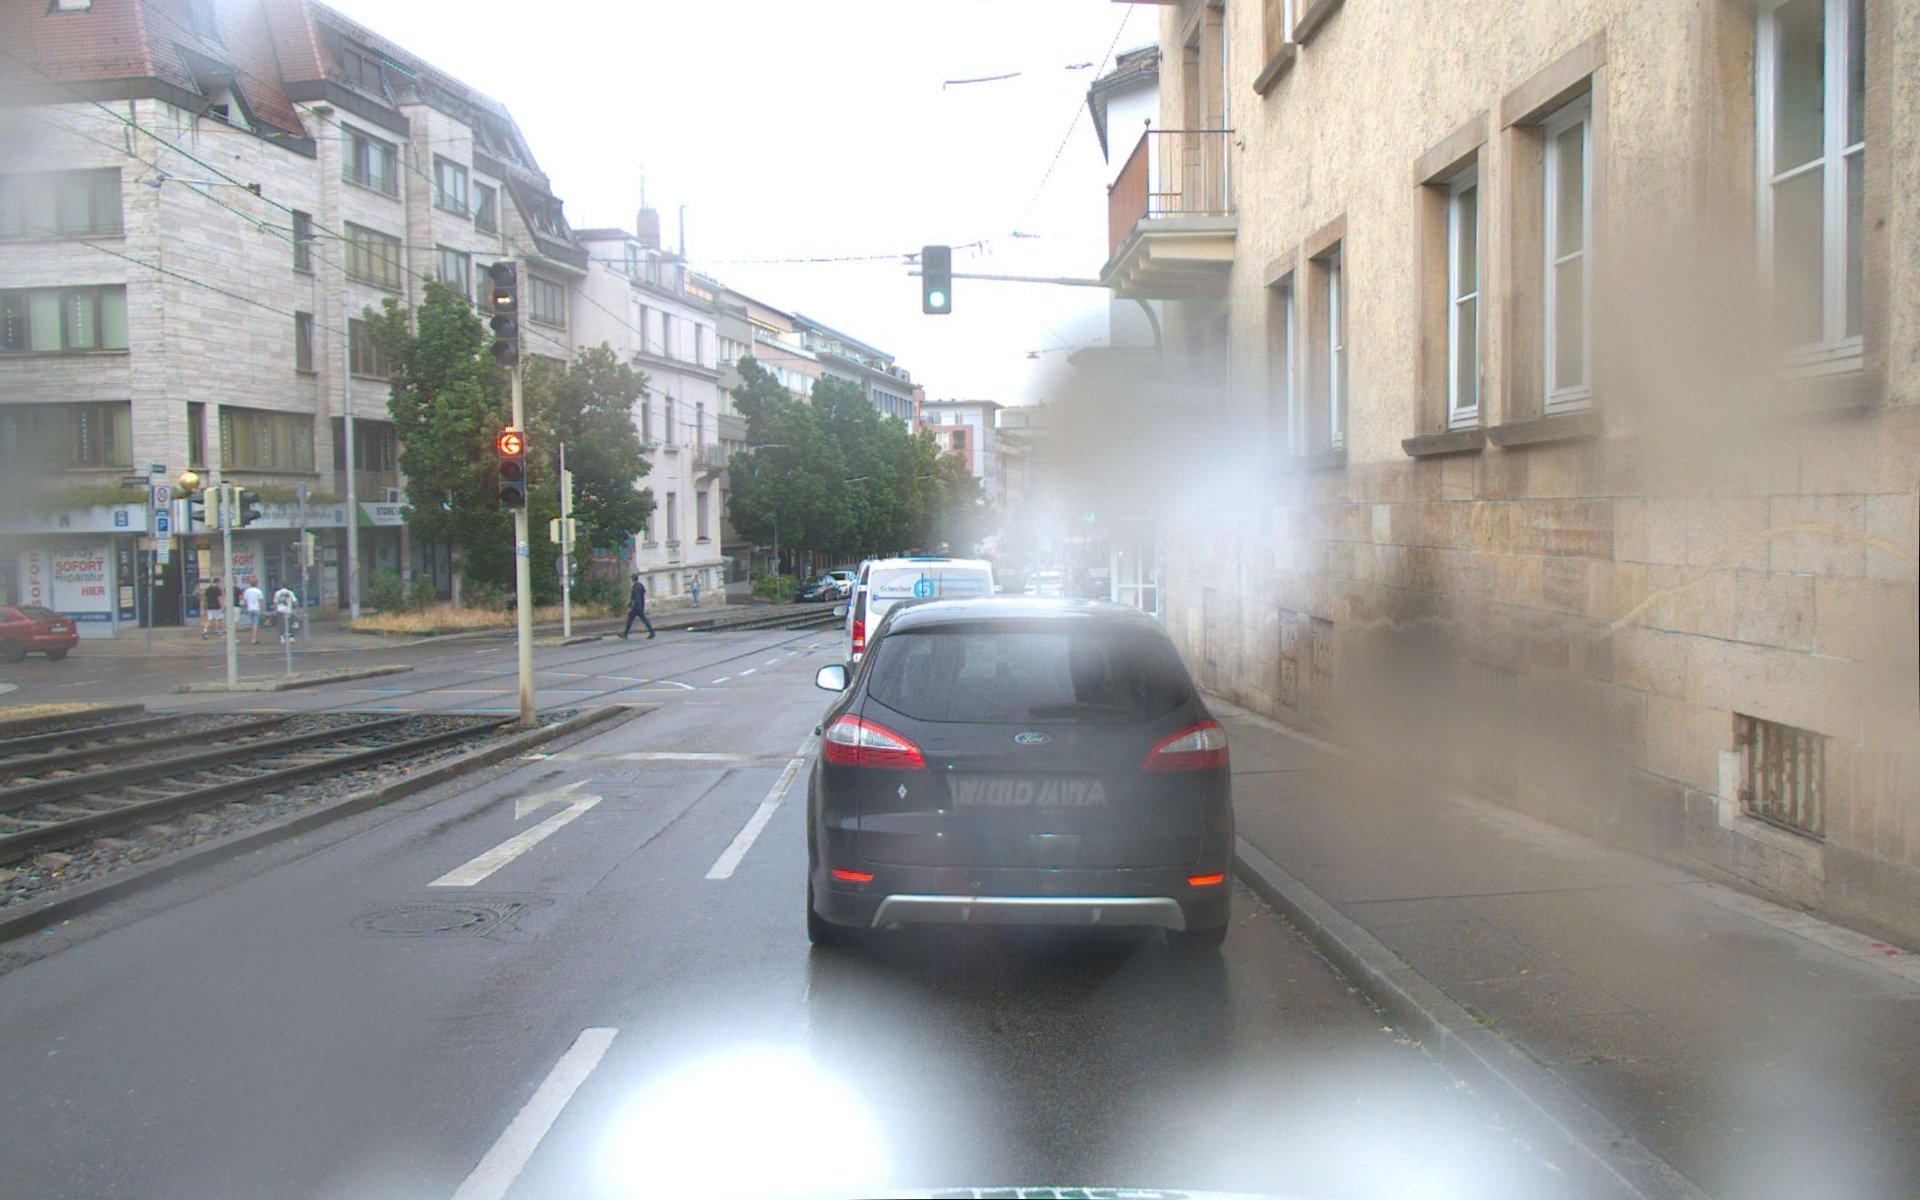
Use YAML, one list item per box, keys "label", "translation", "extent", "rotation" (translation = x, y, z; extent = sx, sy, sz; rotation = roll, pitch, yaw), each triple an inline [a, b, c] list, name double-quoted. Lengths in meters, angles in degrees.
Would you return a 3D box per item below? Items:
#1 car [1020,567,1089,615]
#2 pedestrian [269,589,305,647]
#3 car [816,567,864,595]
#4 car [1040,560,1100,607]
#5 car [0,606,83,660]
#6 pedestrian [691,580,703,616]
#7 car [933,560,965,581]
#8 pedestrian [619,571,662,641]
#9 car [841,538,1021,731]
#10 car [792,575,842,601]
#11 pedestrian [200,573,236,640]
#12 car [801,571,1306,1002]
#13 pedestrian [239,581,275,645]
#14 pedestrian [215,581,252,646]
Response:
- label: "car"
  translation: [3.232, -0.305, 55.807]
  extent: [1.763, 1.481, 4.590]
  rotation: [-2, 0, 9]
- label: "pedestrian"
  translation: [-18.699, 0.493, 45.982]
  extent: [0.634, 1.576, 0.684]
  rotation: [1, 0, 7]
- label: "car"
  translation: [-7.162, -1.128, 99.445]
  extent: [1.816, 1.575, 4.725]
  rotation: [0, 0, 9]
- label: "car"
  translation: [4.204, -0.607, 62.439]
  extent: [1.806, 1.661, 4.590]
  rotation: [-1, 0, 9]
- label: "car"
  translation: [-24.462, 0.836, 42.058]
  extent: [3.614, 1.341, 1.595]
  rotation: [-1, 0, 12]
- label: "pedestrian"
  translation: [-12.311, -0.084, 77.439]
  extent: [0.458, 1.681, 0.582]
  rotation: [1, 0, -3]
- label: "car"
  translation: [-0.894, -2.463, 139.099]
  extent: [1.816, 1.665, 4.939]
  rotation: [0, 0, 9]
- label: "pedestrian"
  translation: [-8.674, 0.155, 44.905]
  extent: [0.911, 1.862, 0.960]
  rotation: [1, 0, 1]
- label: "car"
  translation: [-0.387, 0.385, 20.545]
  extent: [1.948, 2.096, 4.643]
  rotation: [1, 0, -2]
- label: "car"
  translation: [-8.059, -0.660, 93.524]
  extent: [1.657, 1.402, 4.724]
  rotation: [0, 0, 9]
- label: "pedestrian"
  translation: [-21.041, 0.179, 46.909]
  extent: [0.634, 1.875, 0.684]
  rotation: [1, 0, 7]
- label: "car"
  translation: [0.305, 0.676, 7.961]
  extent: [1.805, 1.533, 3.999]
  rotation: [1, 0, -1]
- label: "pedestrian"
  translation: [-19.495, 0.350, 45.875]
  extent: [0.634, 1.754, 0.684]
  rotation: [1, 0, 7]
- label: "pedestrian"
  translation: [-20.181, 0.364, 45.962]
  extent: [0.634, 1.780, 0.684]
  rotation: [1, 0, 7]
